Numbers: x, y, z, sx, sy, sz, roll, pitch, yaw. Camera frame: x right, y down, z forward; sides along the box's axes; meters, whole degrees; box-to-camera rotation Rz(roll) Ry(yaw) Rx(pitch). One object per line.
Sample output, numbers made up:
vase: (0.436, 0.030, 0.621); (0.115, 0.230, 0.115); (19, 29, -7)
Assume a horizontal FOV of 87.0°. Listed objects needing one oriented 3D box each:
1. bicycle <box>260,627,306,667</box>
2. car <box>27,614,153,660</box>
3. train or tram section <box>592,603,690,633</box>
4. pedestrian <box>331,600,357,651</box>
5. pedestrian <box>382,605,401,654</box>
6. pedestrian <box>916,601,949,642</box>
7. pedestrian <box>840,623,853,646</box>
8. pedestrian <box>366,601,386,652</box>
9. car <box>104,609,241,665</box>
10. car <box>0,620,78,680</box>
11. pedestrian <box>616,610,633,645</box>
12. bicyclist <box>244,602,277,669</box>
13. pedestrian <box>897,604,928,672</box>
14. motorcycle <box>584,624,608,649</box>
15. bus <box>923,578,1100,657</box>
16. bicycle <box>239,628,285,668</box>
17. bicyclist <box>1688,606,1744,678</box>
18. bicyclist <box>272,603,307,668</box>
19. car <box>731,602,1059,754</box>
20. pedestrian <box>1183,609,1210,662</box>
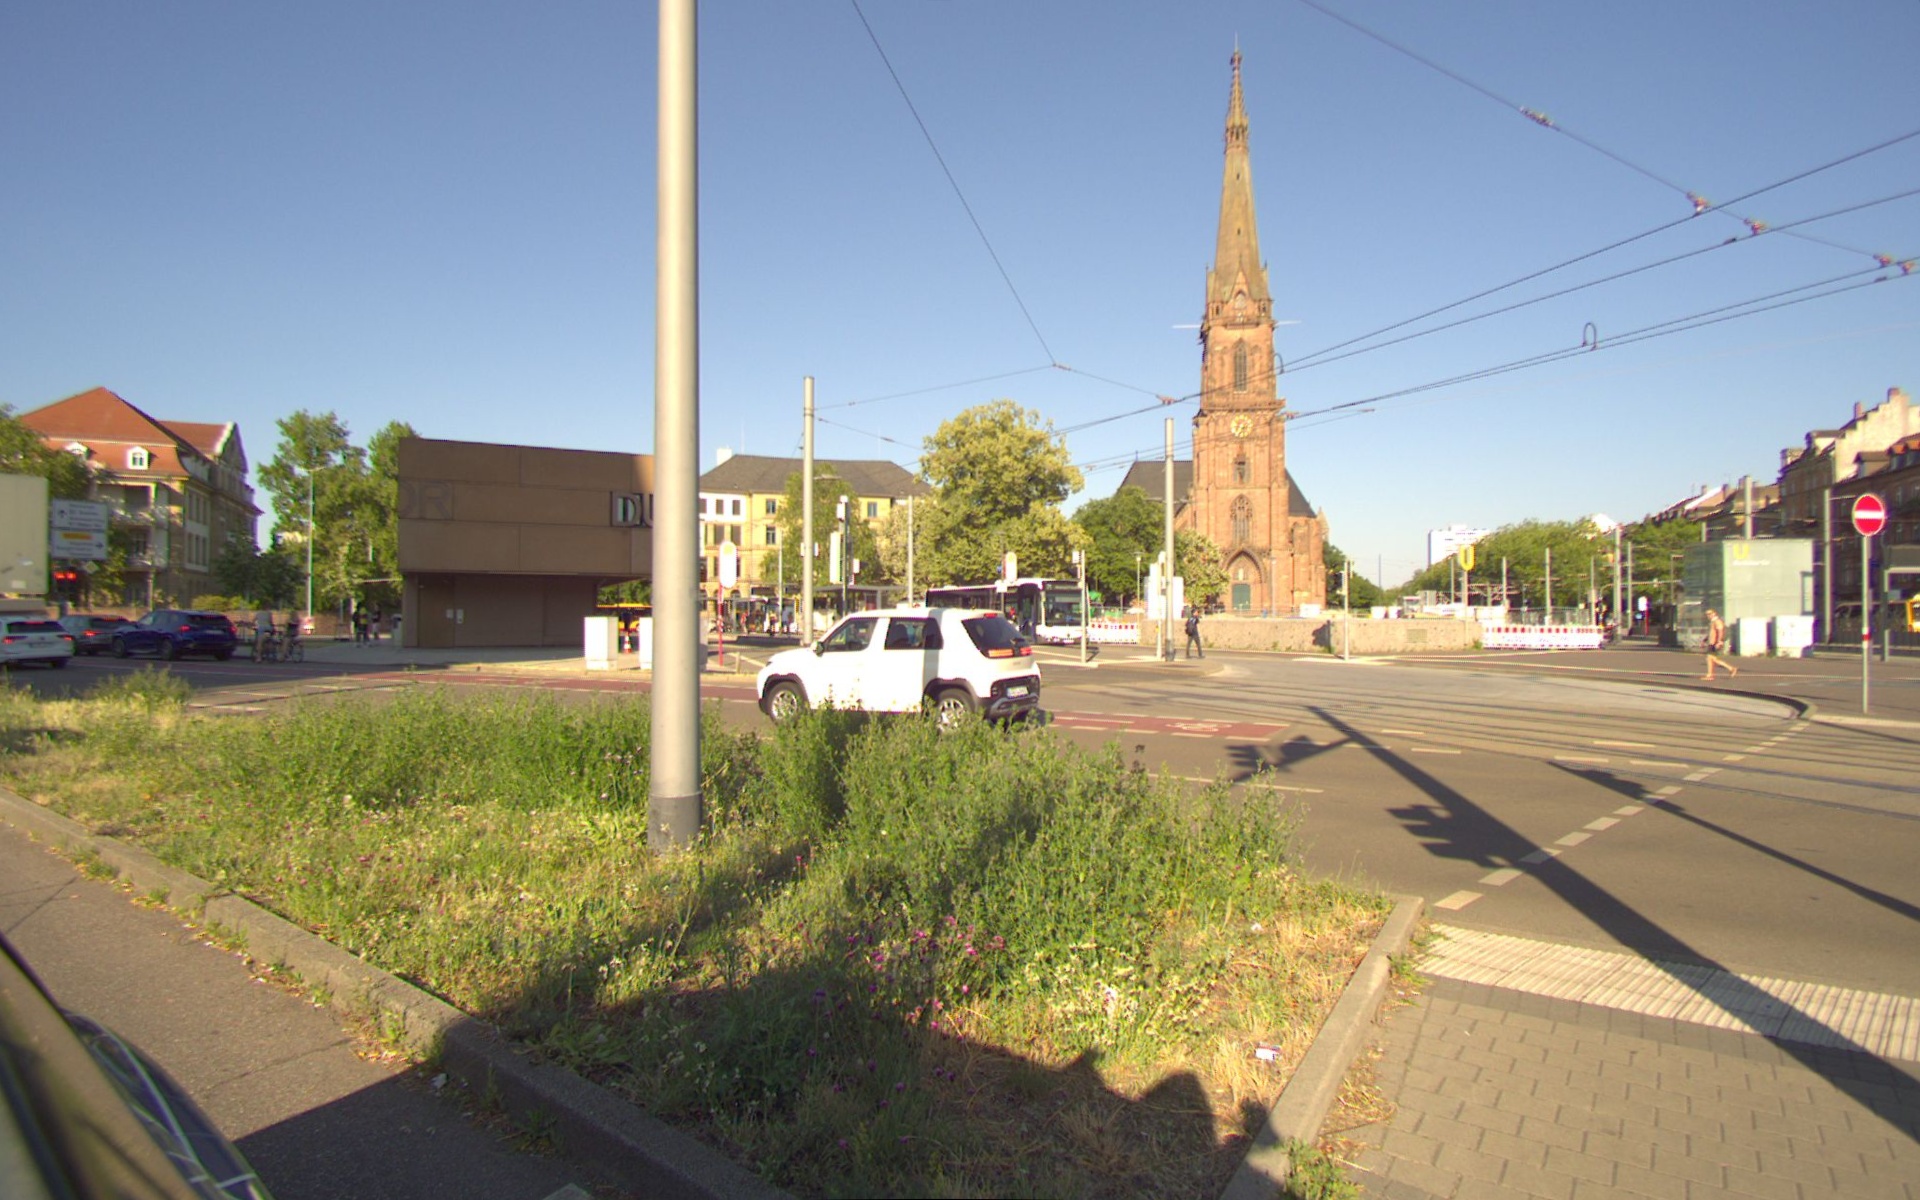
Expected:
bicycle: (-21.234, 1.472, 31.739); (1.387, 1.201, 0.461); (0, 0, 21)
car: (-30.451, 1.290, 35.398); (4.371, 1.503, 1.833); (0, -3, 28)
train or tram section: (-34.232, 1.901, 108.911); (9.952, 2.945, 2.004); (-1, 1, -38)
pedestrian: (-24.859, 1.012, 40.824); (0.766, 2.029, 0.774); (-1, 0, -39)
pedestrian: (-23.731, 1.211, 42.247); (0.645, 2.029, 0.470); (-1, 0, -32)
pedestrian: (-1.170, 0.895, 42.494); (1.025, 1.696, 1.007); (-1, 0, -28)
pedestrian: (-6.011, 1.804, 53.555); (0.531, 1.196, 0.660); (-1, 0, -24)
pedestrian: (-23.648, 1.050, 40.989); (0.645, 2.029, 0.470); (-1, 0, -32)
car: (-25.384, 1.148, 32.627); (4.163, 1.703, 1.742); (0, -1, 24)
car: (-26.568, 1.331, 28.010); (4.371, 1.503, 1.833); (0, 1, 28)
pedestrian: (-19.778, 1.613, 59.633); (0.761, 2.029, 0.779); (0, 0, -4)
bicyclist: (-21.564, 1.081, 31.197); (0.562, 2.029, 0.606); (-1, -1, 23)
pedestrian: (-1.362, 1.069, 28.731); (0.786, 1.911, 0.612); (0, -1, -12)
motorcycle: (-16.155, 1.602, 44.920); (0.935, 1.075, 0.331); (-1, 0, -14)
bus: (1.945, 0.671, 46.859); (2.655, 3.174, 12.216); (-1, 1, -26)
bicycle: (-21.556, 1.479, 31.263); (1.387, 1.201, 0.461); (0, 0, 21)
bicyclist: (18.190, 0.991, 24.356); (0.963, 1.696, 0.669); (-1, 0, -20)
bicyclist: (-21.095, 1.112, 31.842); (0.705, 2.029, 0.606); (-1, -1, 23)
car: (-0.894, 0.874, 13.122); (3.987, 1.674, 1.767); (0, 1, 32)
pedestrian: (8.107, 1.205, 34.731); (0.702, 1.771, 0.584); (-1, 0, -33)
